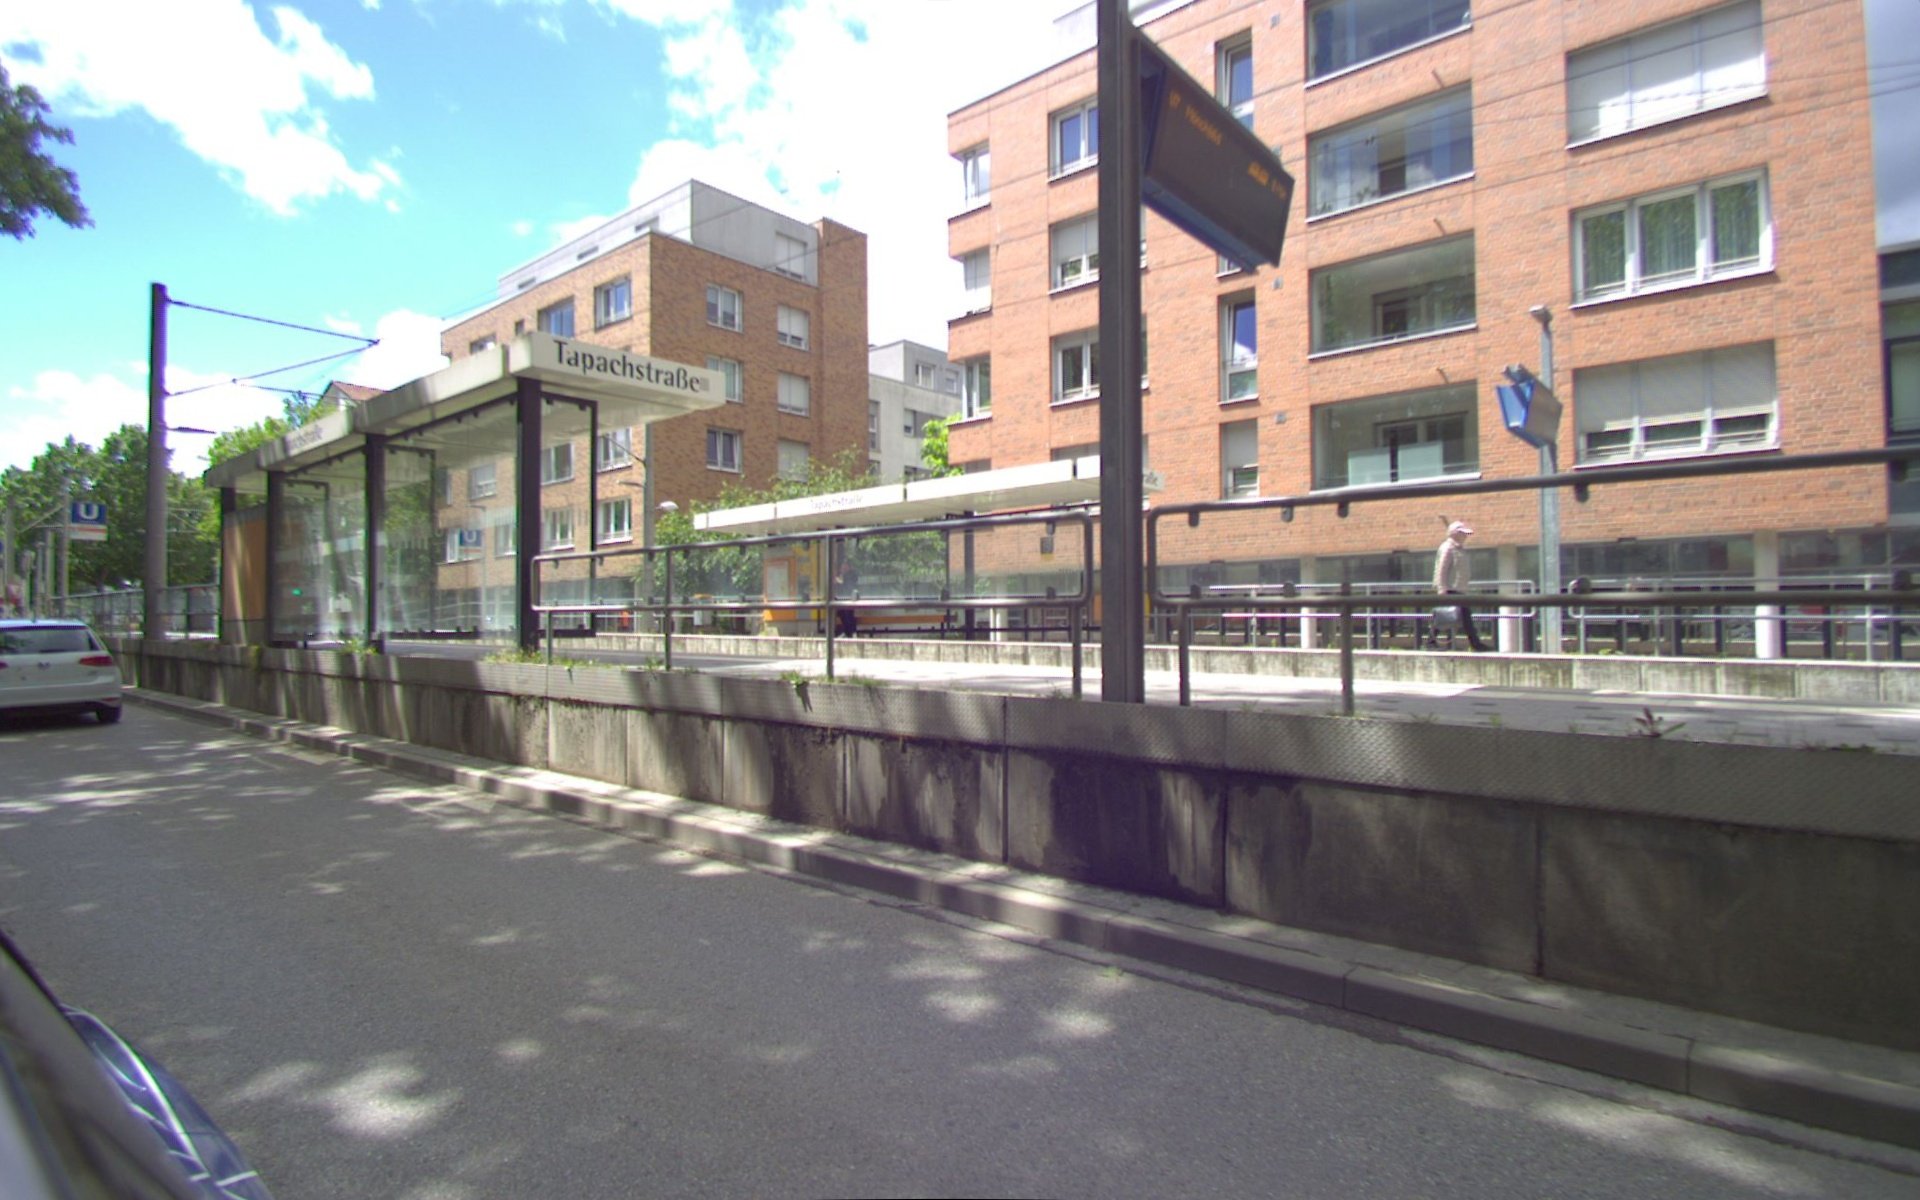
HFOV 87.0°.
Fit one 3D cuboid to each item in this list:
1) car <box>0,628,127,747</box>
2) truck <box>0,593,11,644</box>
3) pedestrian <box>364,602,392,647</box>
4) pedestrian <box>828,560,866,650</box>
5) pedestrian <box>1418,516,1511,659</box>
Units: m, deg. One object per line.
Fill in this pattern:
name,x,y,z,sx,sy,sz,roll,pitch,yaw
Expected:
car,-13.044,1.123,13.958,3.748,1.406,1.715,-1,0,39
truck,-80.143,1.371,78.323,2.613,4.124,9.538,-1,-2,22
pedestrian,-23.723,1.003,41.258,0.828,1.839,0.736,-2,-3,40
pedestrian,-2.265,0.103,20.239,0.527,1.777,0.529,-1,-2,38
pedestrian,6.074,-0.140,12.187,0.815,1.641,0.743,-1,-1,41
